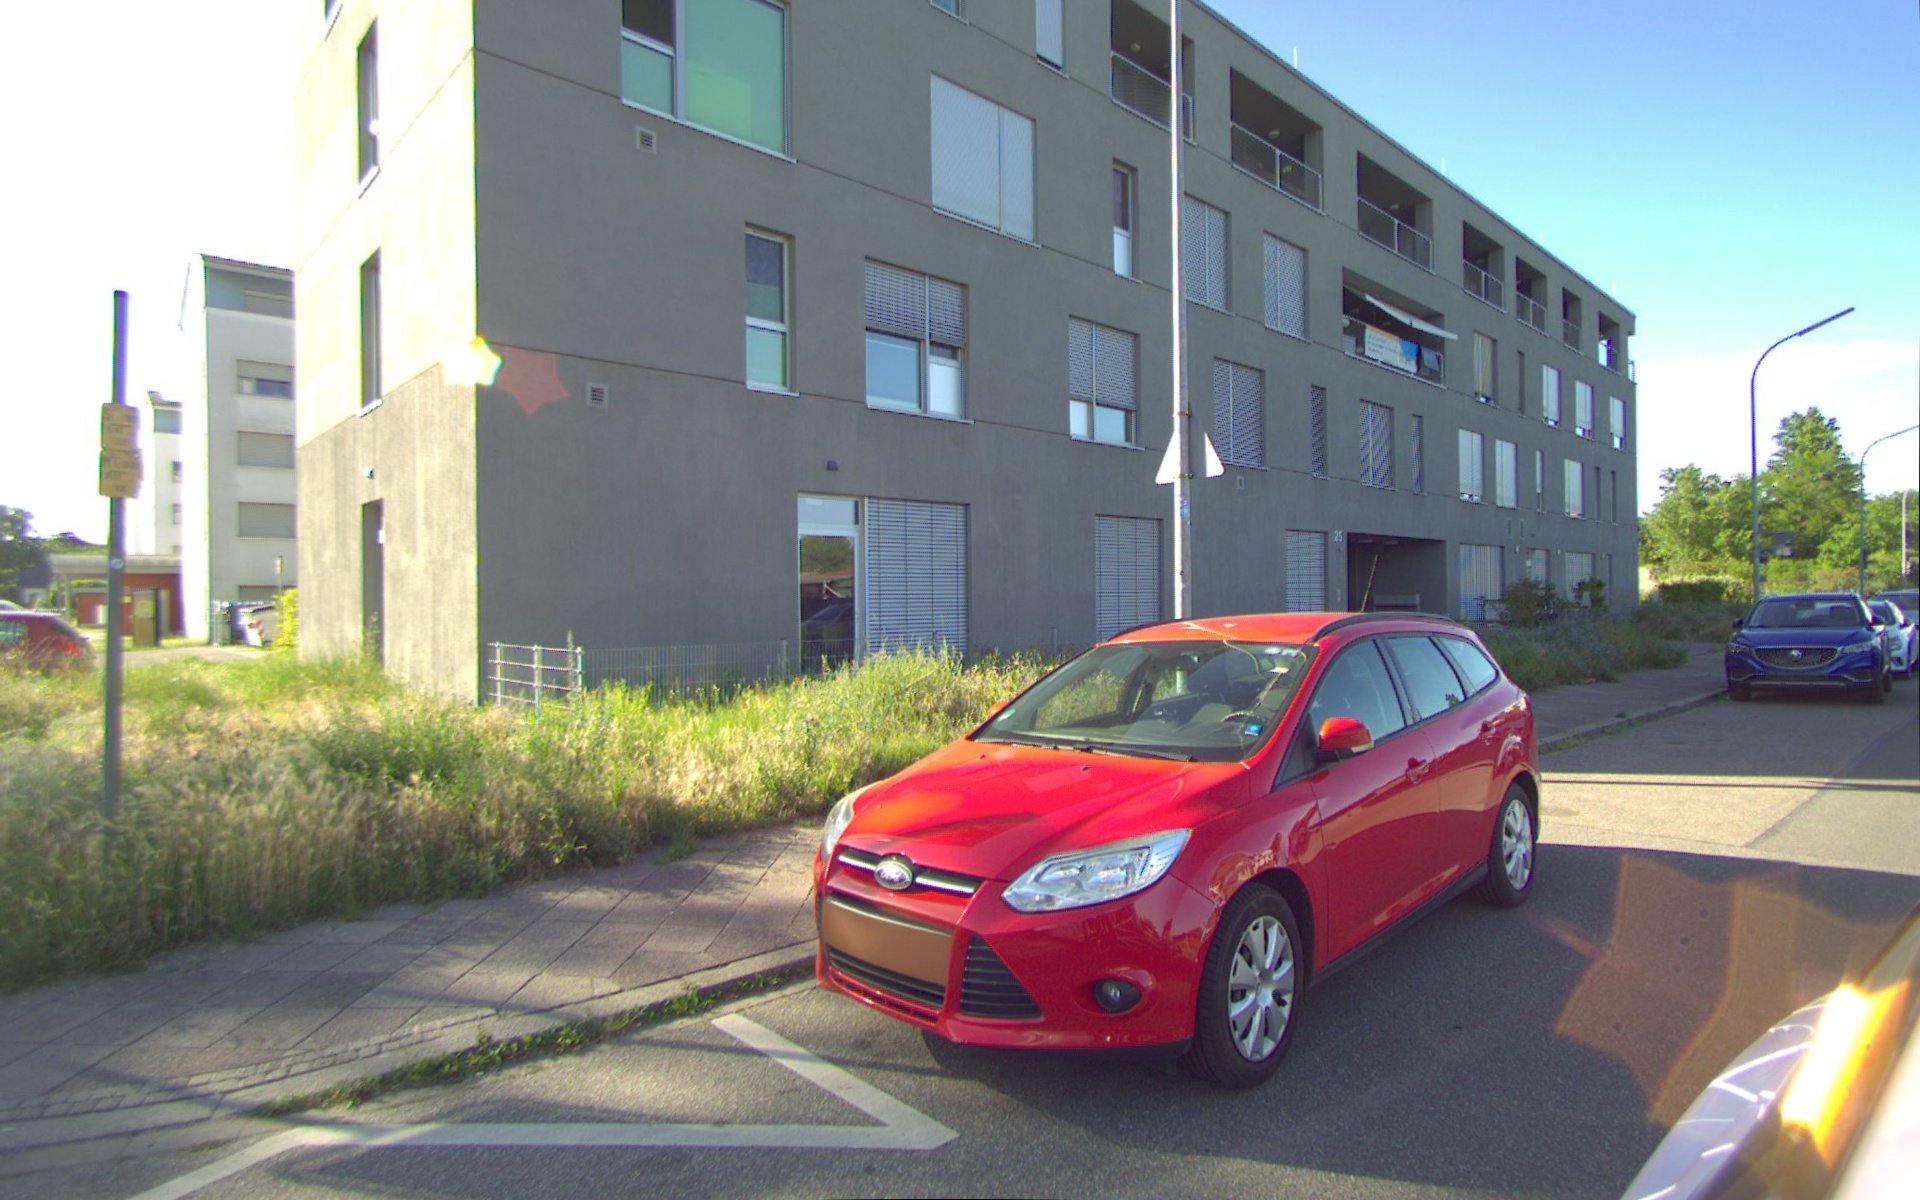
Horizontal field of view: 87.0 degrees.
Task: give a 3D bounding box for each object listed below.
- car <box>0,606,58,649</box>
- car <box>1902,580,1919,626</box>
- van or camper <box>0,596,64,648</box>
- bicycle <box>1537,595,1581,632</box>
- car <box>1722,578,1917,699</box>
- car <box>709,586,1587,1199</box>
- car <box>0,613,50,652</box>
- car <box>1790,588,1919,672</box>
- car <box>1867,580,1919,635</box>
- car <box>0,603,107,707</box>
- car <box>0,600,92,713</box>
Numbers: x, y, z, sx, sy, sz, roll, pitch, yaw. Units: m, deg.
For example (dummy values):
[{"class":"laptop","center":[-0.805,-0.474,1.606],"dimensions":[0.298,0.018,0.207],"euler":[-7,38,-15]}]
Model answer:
[{"class":"car","center":[-32.224,0.898,32.750],"dimensions":[4.524,1.366,1.995],"euler":[-1,0,-43]},{"class":"car","center":[35.012,0.041,35.972],"dimensions":[4.720,1.587,1.747],"euler":[-1,-1,-41]},{"class":"van or camper","center":[-38.020,0.870,38.950],"dimensions":[5.203,1.982,1.997],"euler":[-1,0,-41]},{"class":"bicycle","center":[18.218,0.390,30.754],"dimensions":[1.809,1.075,0.553],"euler":[-1,-1,-39]},{"class":"car","center":[13.471,0.525,15.752],"dimensions":[4.551,1.620,1.817],"euler":[-1,-2,-44]},{"class":"car","center":[1.244,0.728,4.731],"dimensions":[4.378,1.519,1.820],"euler":[-1,-1,-44]},{"class":"car","center":[-35.538,1.195,36.496],"dimensions":[4.019,1.366,1.759],"euler":[-1,0,-43]},{"class":"car","center":[17.759,0.521,19.750],"dimensions":[4.508,1.447,1.746],"euler":[-1,-2,-43]},{"class":"car","center":[28.389,0.174,30.053],"dimensions":[4.084,1.546,1.708],"euler":[-1,-1,-42]},{"class":"car","center":[-15.687,0.858,15.527],"dimensions":[3.932,1.539,1.695],"euler":[-1,1,-43]},{"class":"car","center":[-14.224,0.775,13.539],"dimensions":[3.932,1.488,1.695],"euler":[-1,1,-43]}]
